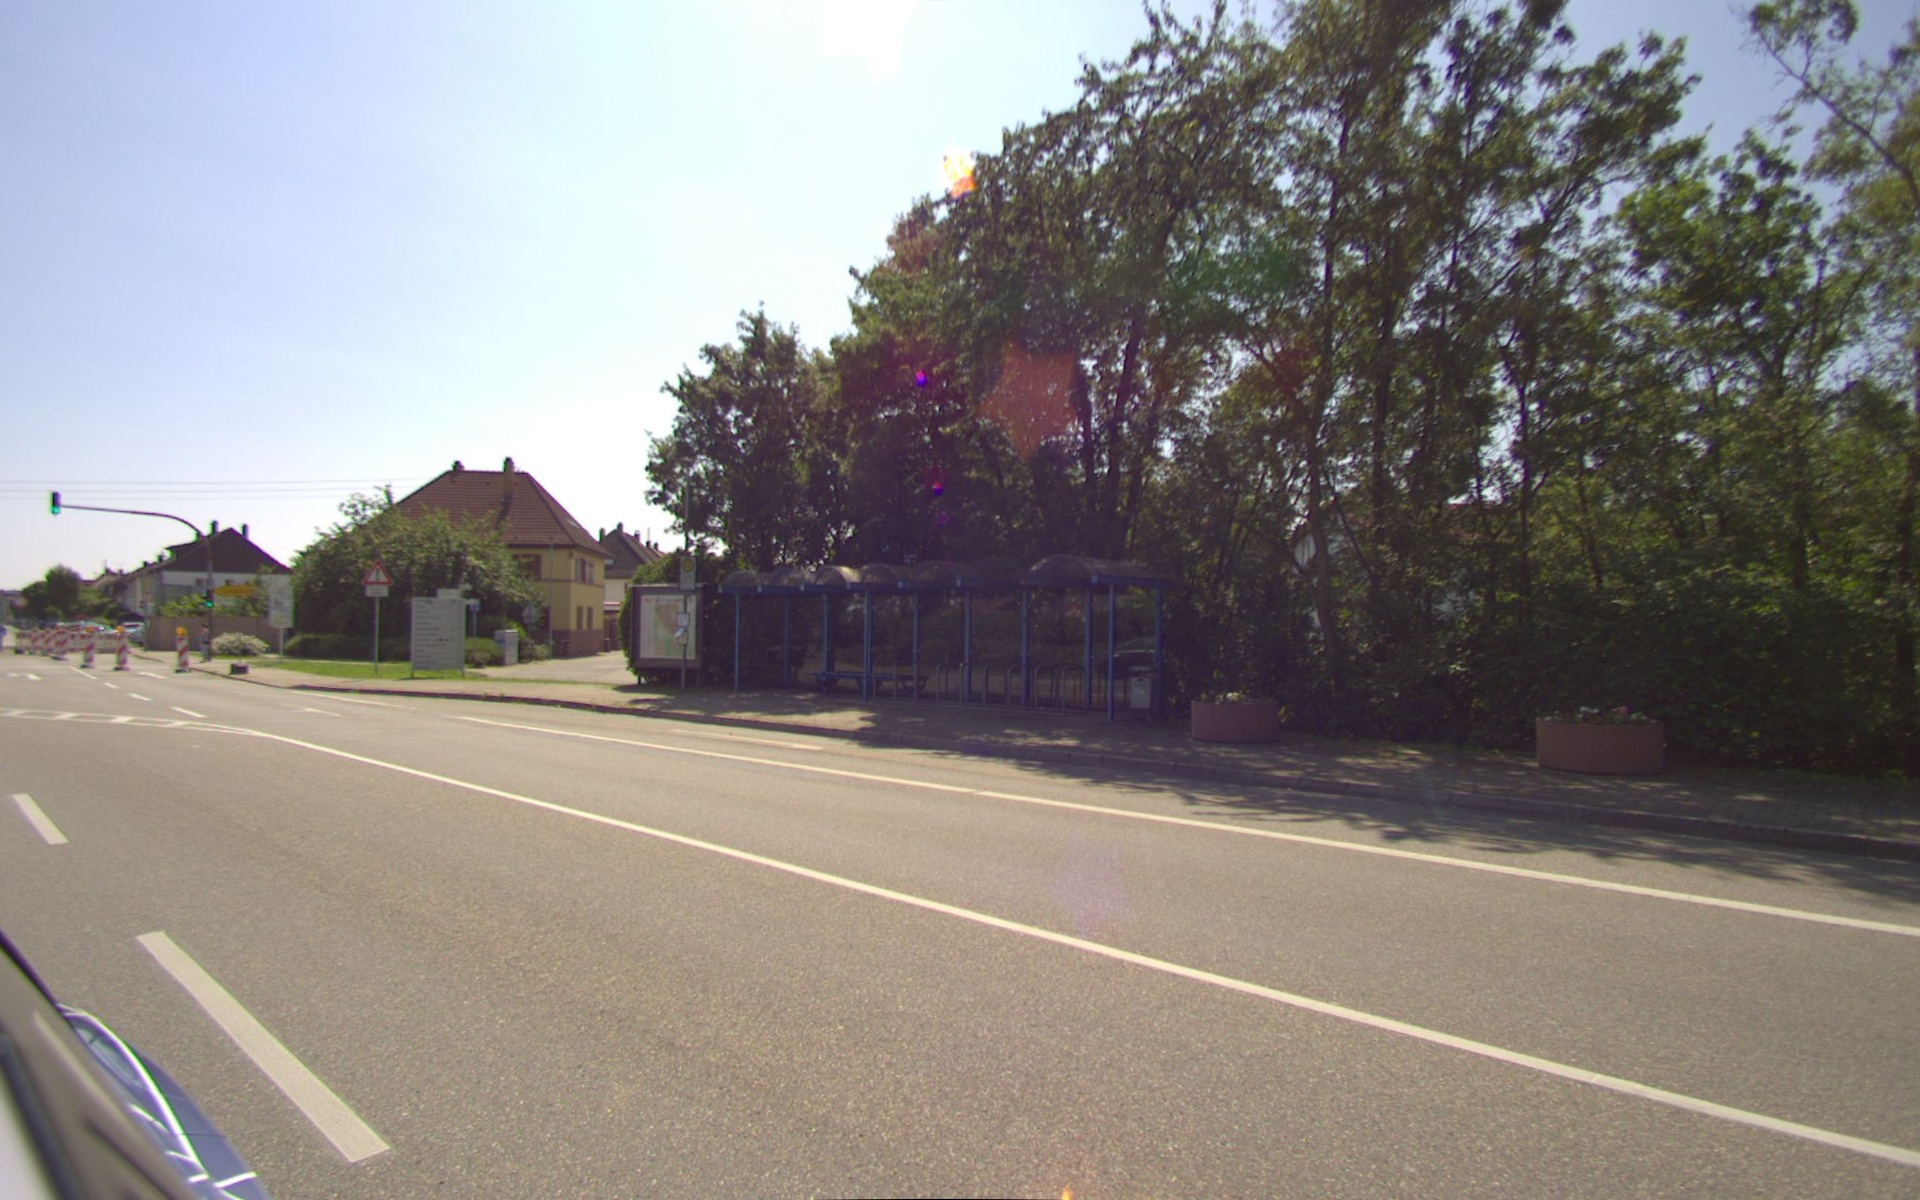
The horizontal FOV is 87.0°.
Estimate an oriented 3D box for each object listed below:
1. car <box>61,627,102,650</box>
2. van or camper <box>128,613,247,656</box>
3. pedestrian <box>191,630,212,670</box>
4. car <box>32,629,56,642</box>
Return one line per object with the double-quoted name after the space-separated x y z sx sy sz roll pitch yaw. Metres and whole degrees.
-65.665 2.882 75.631 4.229 1.603 1.837 -1 -4 43 "car"
-54.256 2.449 71.208 2.286 2.866 6.186 -1 -3 36 "van or camper"
-32.036 2.094 42.741 0.607 1.620 0.688 -2 0 -45 "pedestrian"
-108.505 4.204 119.869 3.917 1.428 1.716 -1 -2 43 "car"
